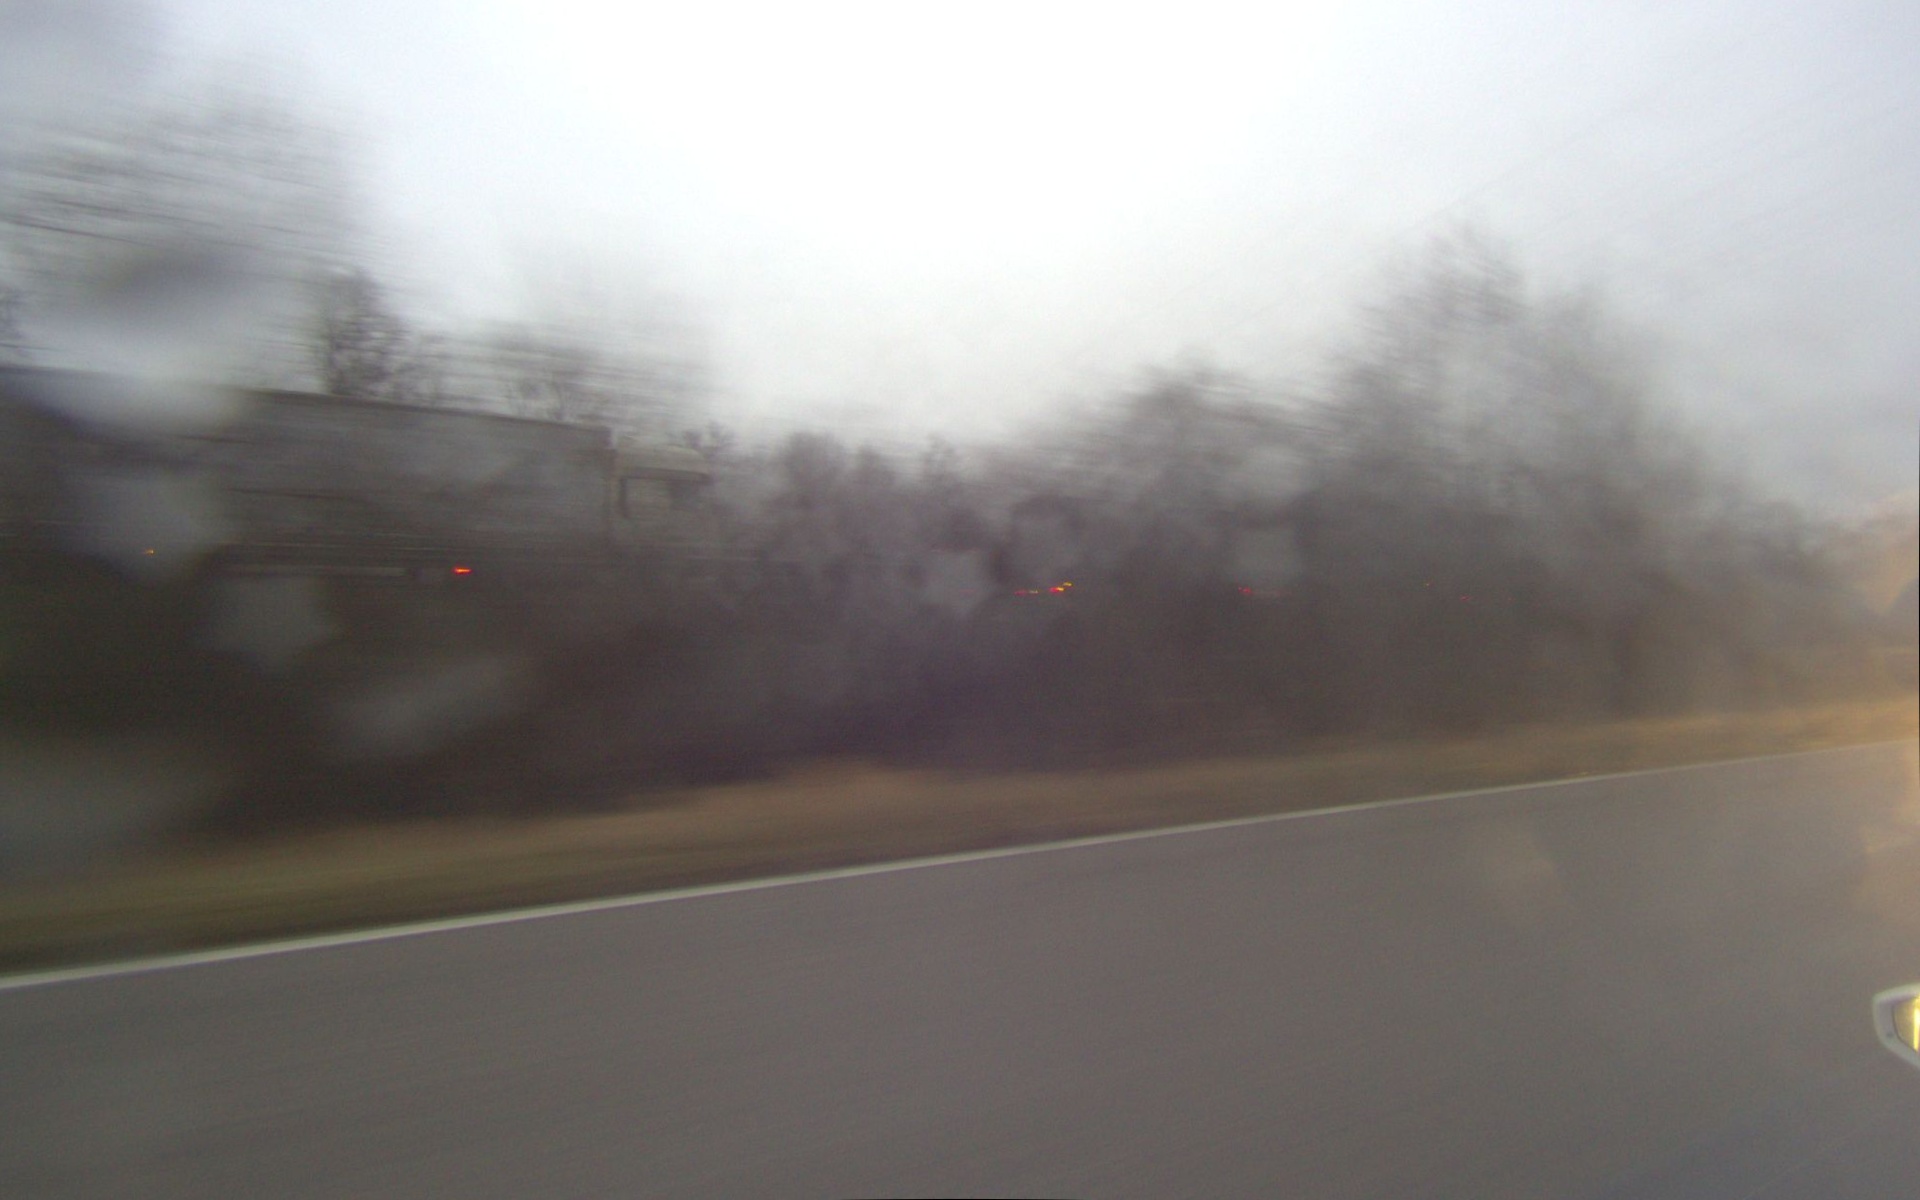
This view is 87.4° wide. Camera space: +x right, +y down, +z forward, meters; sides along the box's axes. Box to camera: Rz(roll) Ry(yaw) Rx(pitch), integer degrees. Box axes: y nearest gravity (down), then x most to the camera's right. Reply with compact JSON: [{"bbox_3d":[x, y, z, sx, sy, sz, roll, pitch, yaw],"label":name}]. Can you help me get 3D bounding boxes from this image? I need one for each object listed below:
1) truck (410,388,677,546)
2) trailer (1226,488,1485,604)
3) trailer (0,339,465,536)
[{"bbox_3d":[-9.767,-2.941,23.691,5.518,2.925,2.438,2,-1,-30],"label":"truck"},{"bbox_3d":[15.458,-1.846,38.741,11.255,3.682,2.984,2,0,-31],"label":"trailer"},{"bbox_3d":[-16.033,-3.133,19.950,10.956,2.929,2.424,2,-1,-31],"label":"trailer"}]
